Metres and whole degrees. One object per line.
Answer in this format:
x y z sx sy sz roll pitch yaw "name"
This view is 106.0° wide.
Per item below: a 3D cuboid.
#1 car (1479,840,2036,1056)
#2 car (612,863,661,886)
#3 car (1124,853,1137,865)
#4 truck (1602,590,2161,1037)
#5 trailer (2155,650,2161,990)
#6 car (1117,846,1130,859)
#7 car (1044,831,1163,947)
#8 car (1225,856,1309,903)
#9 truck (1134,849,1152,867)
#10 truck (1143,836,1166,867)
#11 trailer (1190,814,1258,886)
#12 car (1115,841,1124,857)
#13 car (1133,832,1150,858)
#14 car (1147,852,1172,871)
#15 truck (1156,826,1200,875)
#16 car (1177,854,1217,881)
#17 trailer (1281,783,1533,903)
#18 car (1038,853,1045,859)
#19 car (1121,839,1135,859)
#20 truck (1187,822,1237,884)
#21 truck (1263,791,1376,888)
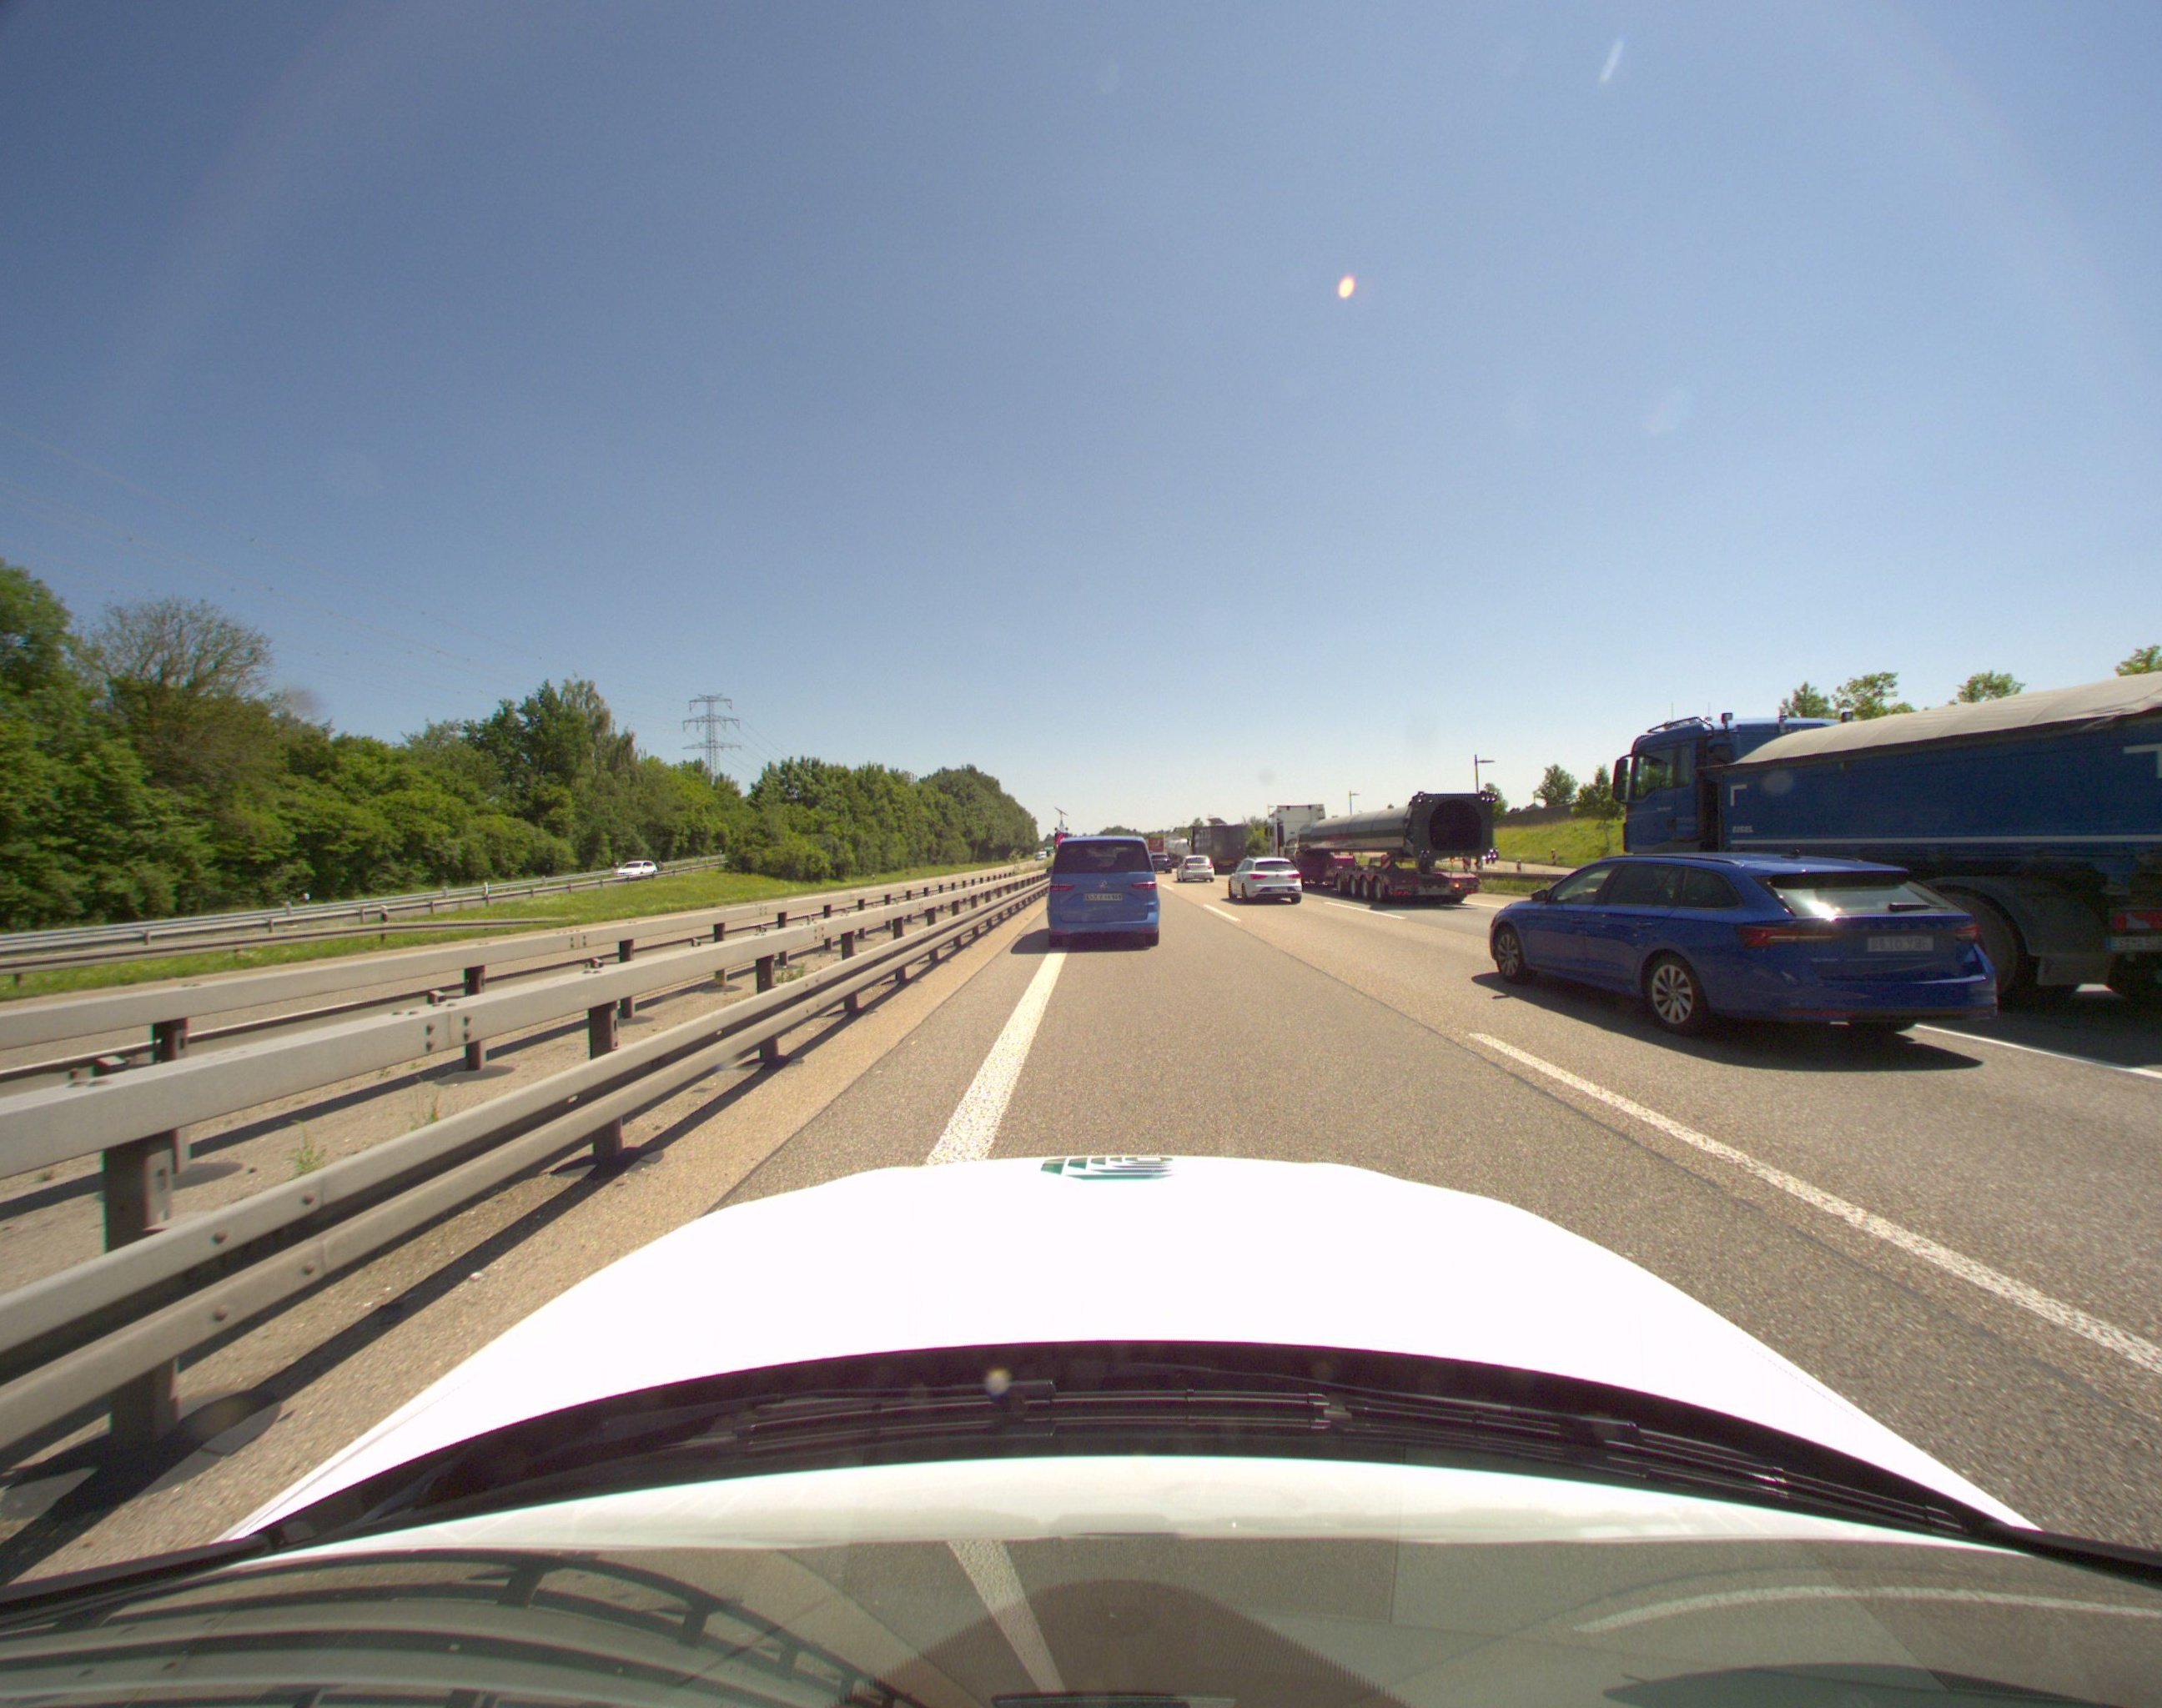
5.616 0.666 7.689 1.699 1.441 4.430 -1 -1 2 "car"
-34.233 1.555 62.849 1.632 1.674 4.889 0 -1 -7 "car"
8.483 0.855 139.092 1.986 2.014 4.001 -1 -1 1 "car"
9.490 -0.311 9.263 2.733 3.311 7.136 -1 0 2 "truck"
9.214 -0.114 1.472 2.733 2.836 9.119 -1 0 2 "trailer"
8.673 -0.265 167.573 2.541 2.717 5.623 -1 -1 1 "car"
0.475 0.591 15.077 1.893 1.838 4.003 -1 -1 3 "car"
5.833 0.744 25.949 1.861 1.361 4.001 -1 0 1 "car"
6.602 0.410 86.650 1.719 1.857 4.001 -1 -1 1 "truck"
11.966 -0.343 133.023 3.057 4.920 10.693 -1 -1 2 "truck"
11.236 -0.194 65.554 3.632 5.136 13.080 -1 -1 2 "trailer"
11.973 -1.482 254.136 2.706 4.713 11.563 -1 -1 2 "car"
12.719 -1.884 172.699 3.206 5.257 8.147 -1 -1 2 "car"
6.389 0.606 66.549 1.774 1.524 4.001 -1 -1 1 "car"
11.182 -0.223 95.421 3.608 5.213 15.692 -1 -1 1 "truck"
6.478 0.776 45.983 1.833 1.454 4.002 -1 -1 2 "car"
10.409 -0.170 29.071 3.630 3.079 15.787 -1 -1 4 "trailer"
-11.712 0.604 242.992 1.789 1.886 4.001 -1 -1 1 "car"
12.954 -1.260 224.198 3.210 5.257 8.138 -1 -1 -2 "car"
11.487 -0.034 71.936 3.645 5.180 5.710 -1 -1 1 "truck"
11.080 -0.568 38.712 3.609 4.095 7.532 -1 -1 4 "truck"
